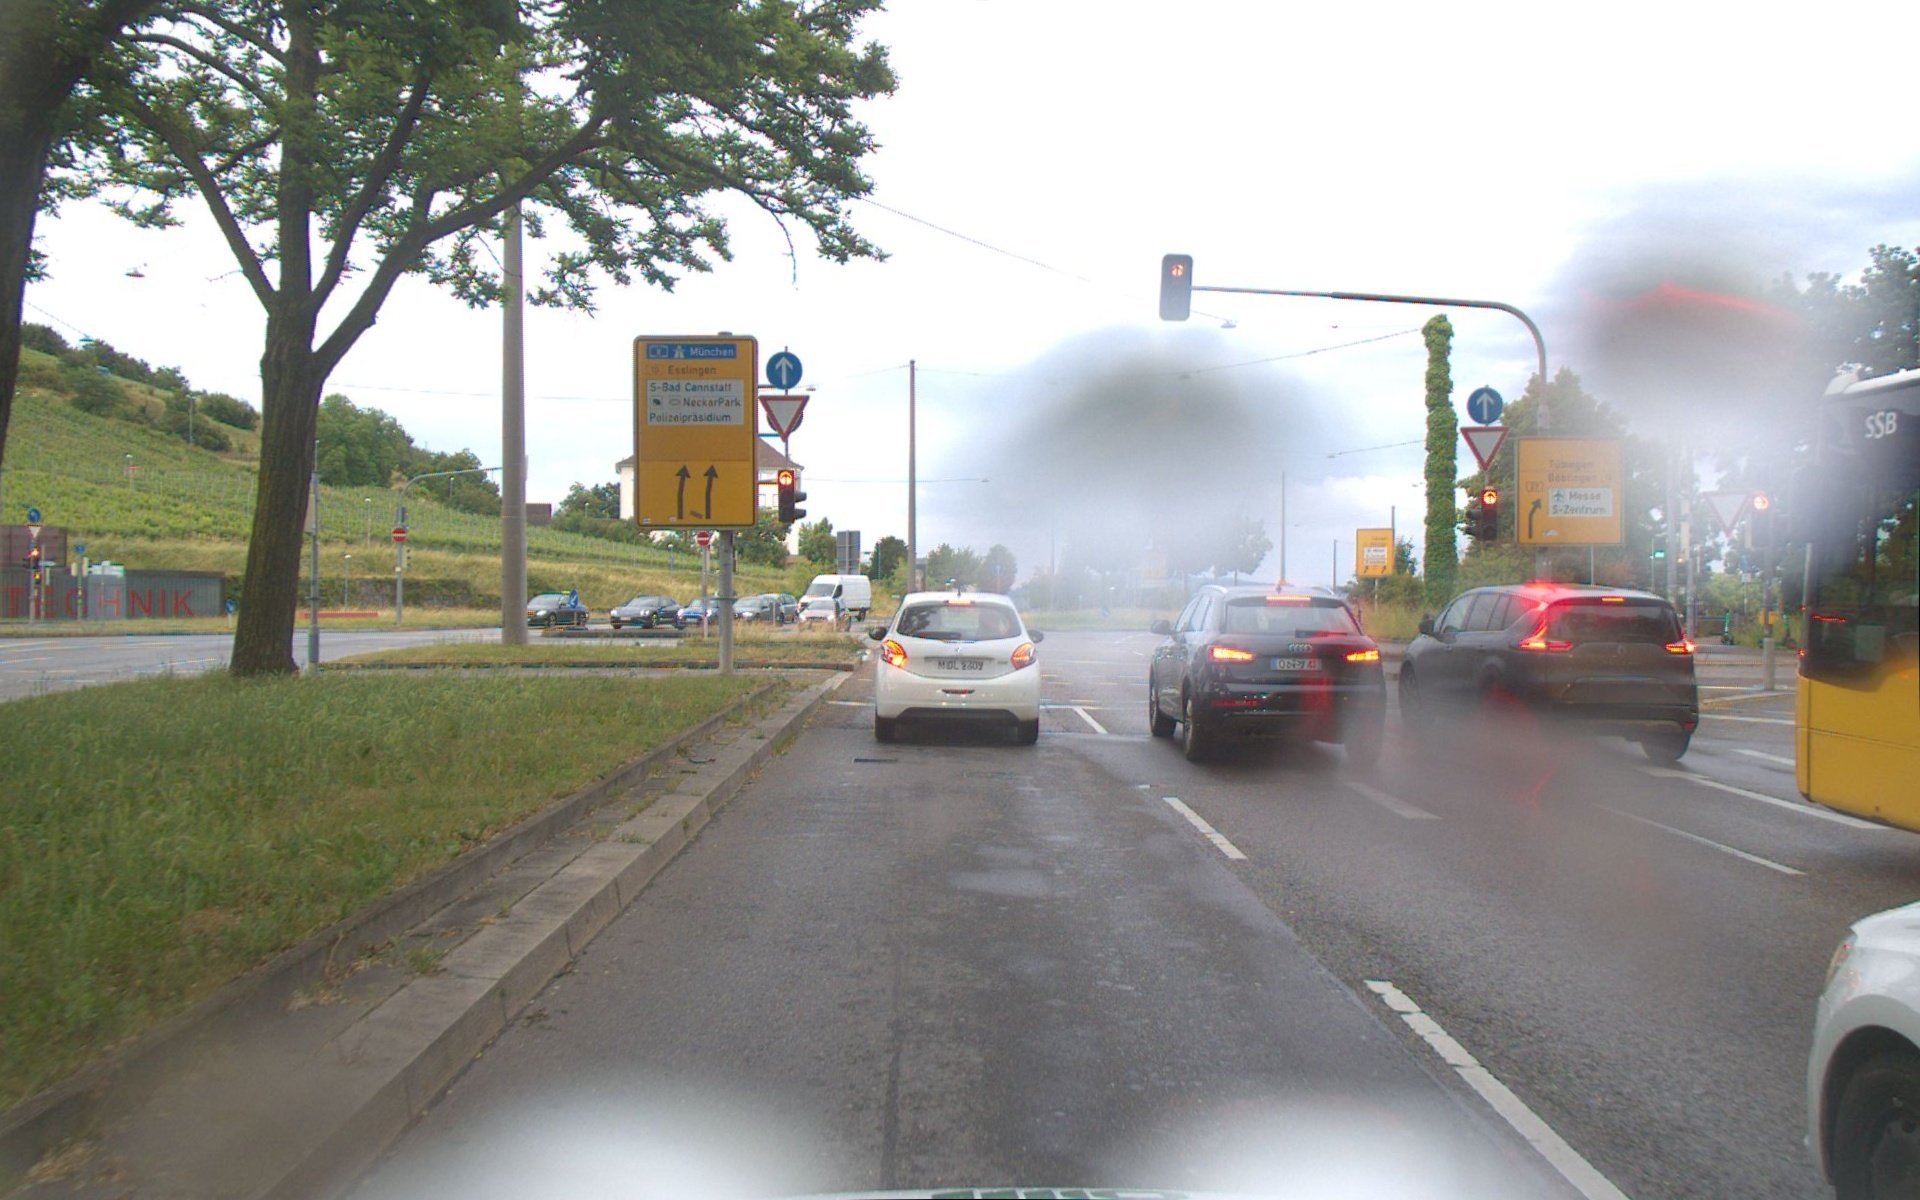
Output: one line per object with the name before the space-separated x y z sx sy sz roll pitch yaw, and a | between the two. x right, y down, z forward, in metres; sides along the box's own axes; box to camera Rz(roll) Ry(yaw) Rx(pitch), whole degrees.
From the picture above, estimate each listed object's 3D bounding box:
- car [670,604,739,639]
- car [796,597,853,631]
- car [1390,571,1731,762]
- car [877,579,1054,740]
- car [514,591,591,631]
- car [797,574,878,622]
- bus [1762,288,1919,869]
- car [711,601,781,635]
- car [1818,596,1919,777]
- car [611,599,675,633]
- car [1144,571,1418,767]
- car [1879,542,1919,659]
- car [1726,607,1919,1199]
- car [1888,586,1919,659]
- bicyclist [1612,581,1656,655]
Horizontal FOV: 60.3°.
car | -11.064 0.964 71.752 1.748 1.420 3.885 1 -1 10
car | -5.910 0.606 72.520 1.738 1.450 4.376 0 -1 5
car | 6.055 0.573 17.318 1.827 1.703 4.564 1 1 -1
car | 0.040 0.583 17.879 1.683 1.515 3.999 1 0 0
car | -17.776 0.495 72.375 1.790 1.652 4.569 2 0 6
car | -7.005 -0.080 95.542 1.954 2.604 6.166 2 -1 24
bus | 6.611 -0.041 4.752 2.671 3.207 12.146 2 1 0
car | -10.049 0.855 78.057 1.860 1.515 4.896 2 0 9
car | 9.262 0.753 15.662 1.830 1.524 4.143 -2 -2 30
car | -14.104 0.743 73.756 1.748 1.420 3.884 1 -1 6
car | 2.998 0.608 16.304 1.846 1.623 4.113 2 0 0
car | 25.428 0.067 39.592 5.893 2.789 2.079 1 -2 27
car | 2.867 0.766 2.320 1.706 1.457 3.810 2 0 -2
car | 23.274 0.557 37.234 3.967 1.596 1.870 1 -2 24
bicyclist | 15.103 0.405 37.028 0.793 1.611 1.021 2 -1 27
